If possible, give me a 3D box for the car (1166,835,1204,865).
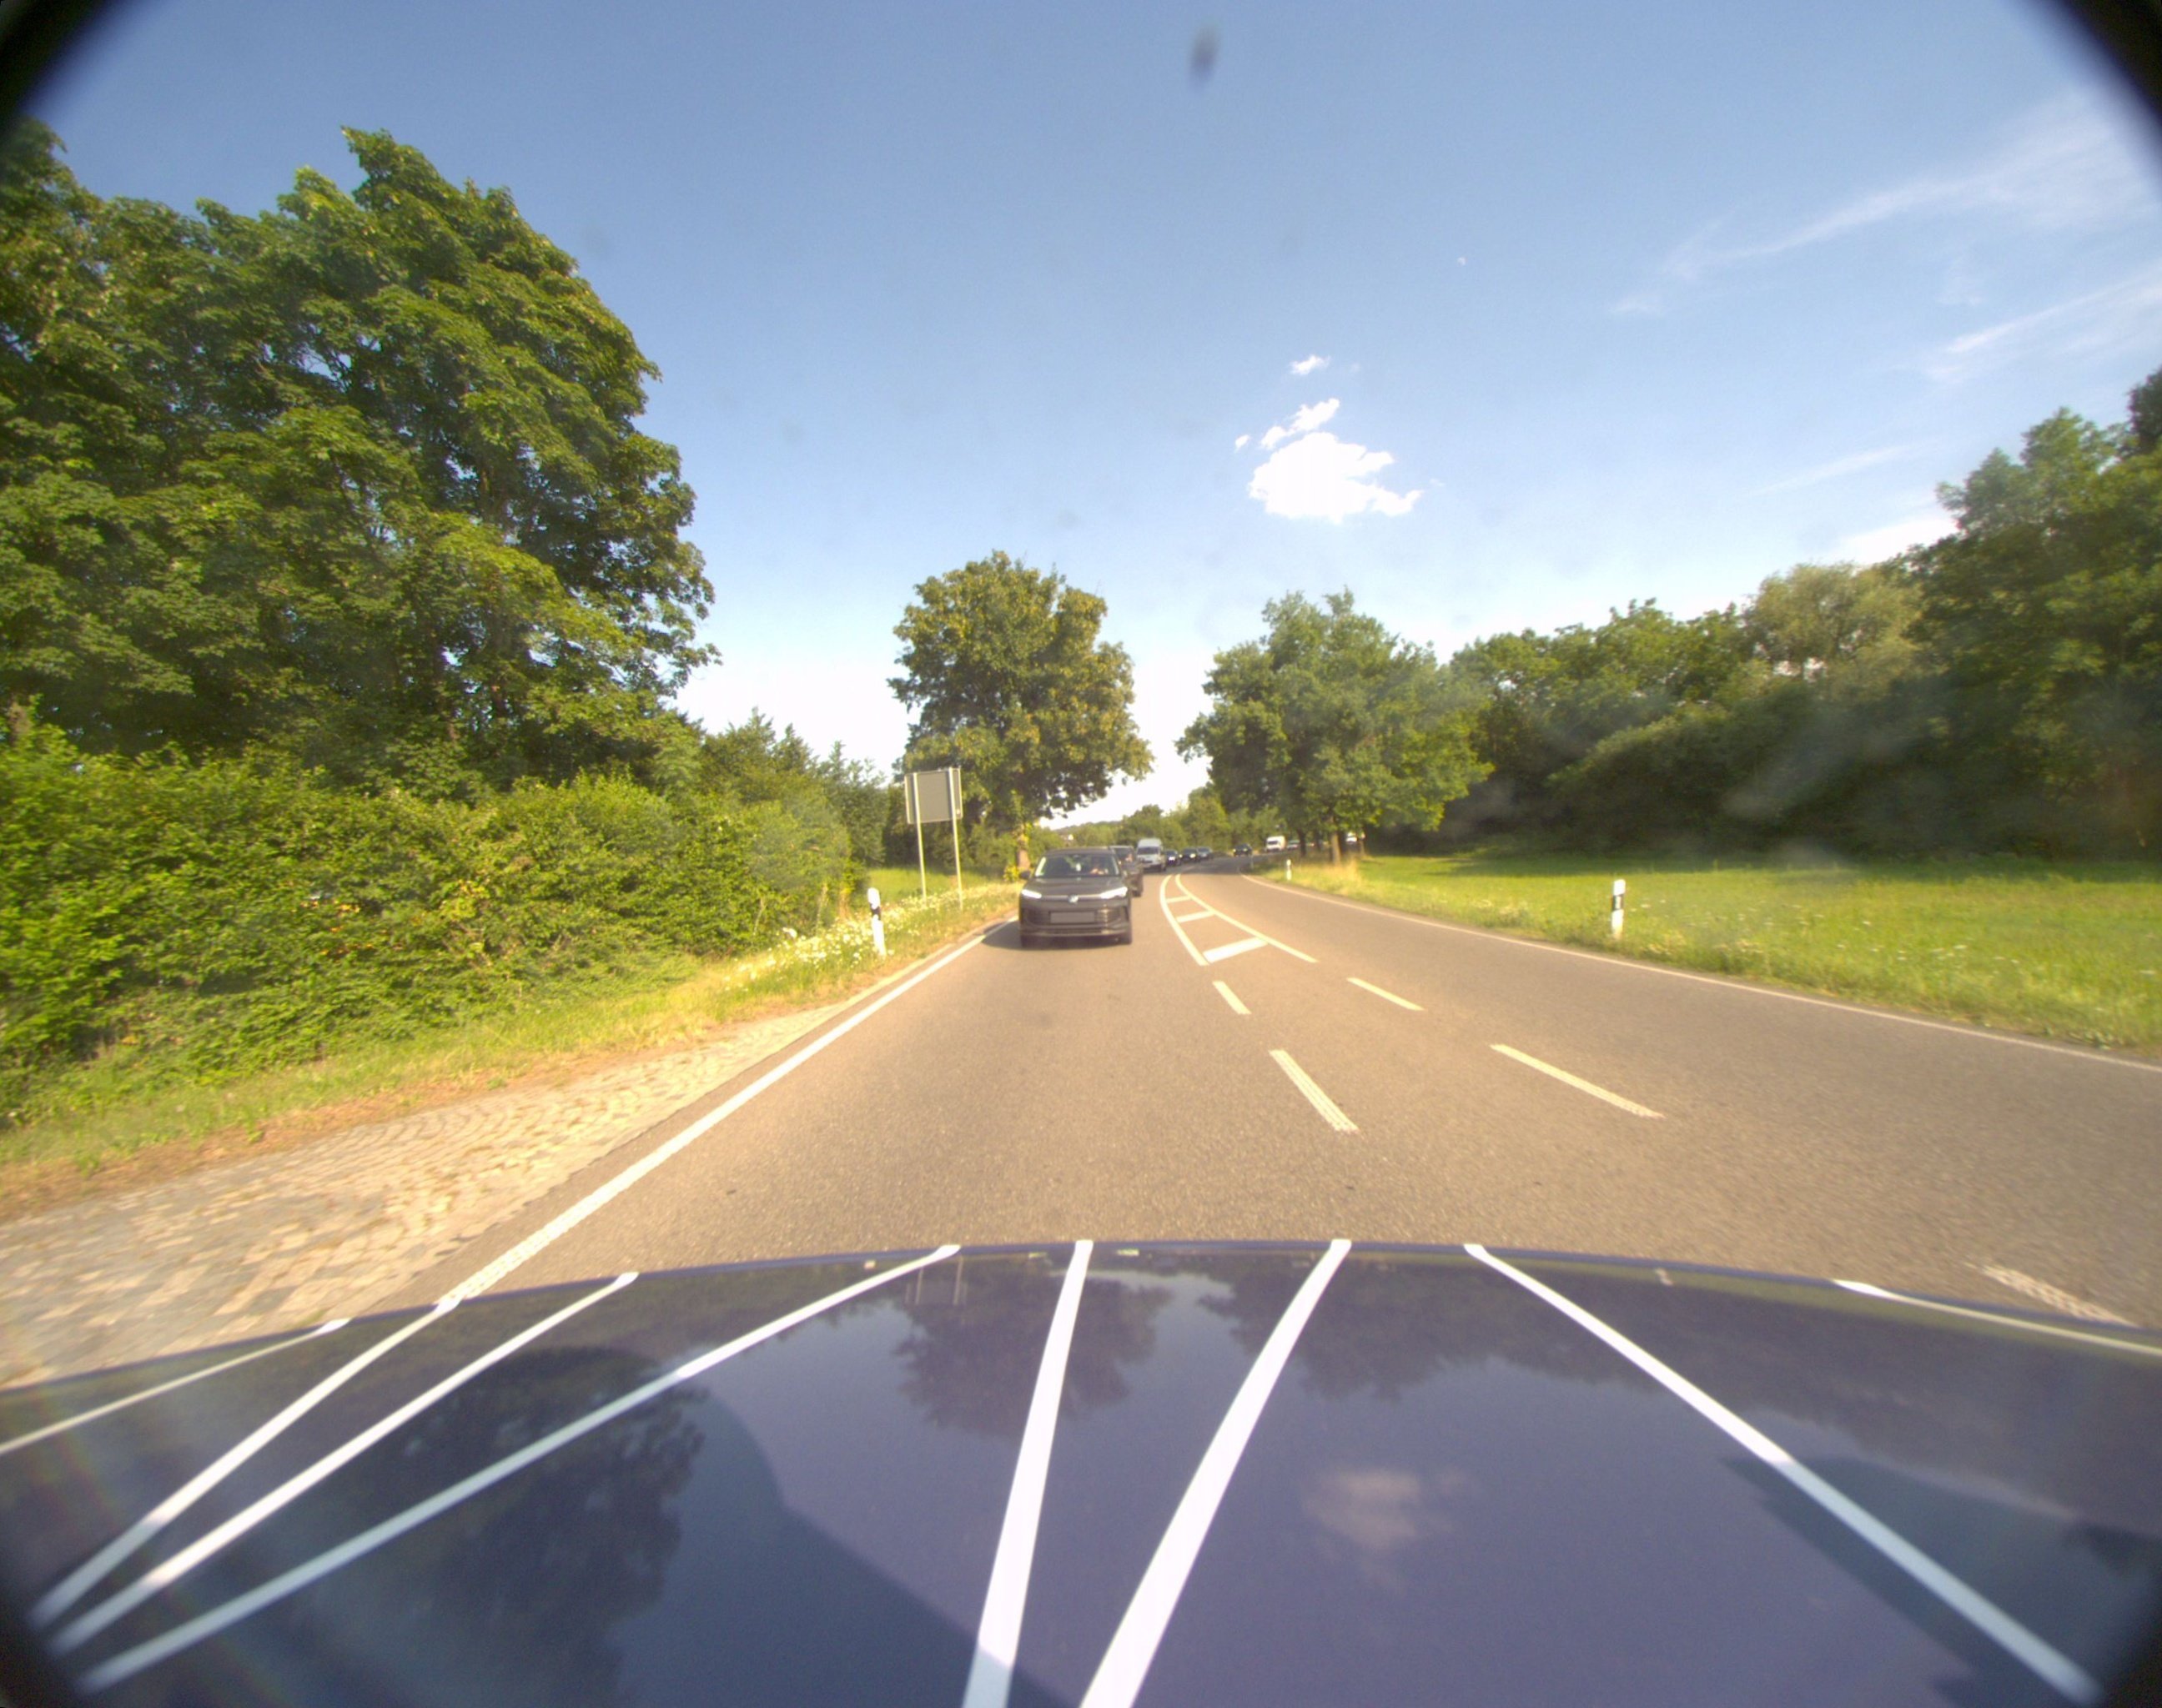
[{"bbox_3d":[8.928,-0.371,64.802,2.085,2.403,5.148,-2,1,20],"label":"car"}]

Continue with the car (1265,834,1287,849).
[{"bbox_3d":[31.838,-2.063,124.009,2.084,2.403,5.151,-1,1,31],"label":"car"}]

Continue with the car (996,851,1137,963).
[{"bbox_3d":[-0.054,0.797,13.796,1.921,1.612,4.703,-2,0,6],"label":"car"}]

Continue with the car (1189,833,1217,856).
[{"bbox_3d":[13.657,-1.059,84.863,2.085,2.403,5.148,-2,1,20],"label":"car"}]

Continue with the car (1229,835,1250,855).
[{"bbox_3d":[21.368,-1.247,102.301,2.085,2.403,5.148,-2,1,20],"label":"car"}]

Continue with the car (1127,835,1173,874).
[{"bbox_3d":[4.801,-0.020,52.227,2.086,2.403,5.147,-2,1,17],"label":"car"}]

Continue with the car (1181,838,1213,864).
[{"bbox_3d":[11.425,-0.320,74.756,2.085,2.403,5.148,-2,1,20],"label":"car"}]

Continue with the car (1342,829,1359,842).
[{"bbox_3d":[52.874,-3.704,149.053,2.084,2.403,5.151,-1,1,31],"label":"car"}]

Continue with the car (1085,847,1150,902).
[{"bbox_3d":[1.385,0.637,26.653,1.921,1.719,4.703,-2,0,6],"label":"car"}]

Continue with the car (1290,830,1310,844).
[{"bbox_3d":[38.973,-3.026,135.136,2.084,2.403,5.151,-1,1,31],"label":"car"}]
